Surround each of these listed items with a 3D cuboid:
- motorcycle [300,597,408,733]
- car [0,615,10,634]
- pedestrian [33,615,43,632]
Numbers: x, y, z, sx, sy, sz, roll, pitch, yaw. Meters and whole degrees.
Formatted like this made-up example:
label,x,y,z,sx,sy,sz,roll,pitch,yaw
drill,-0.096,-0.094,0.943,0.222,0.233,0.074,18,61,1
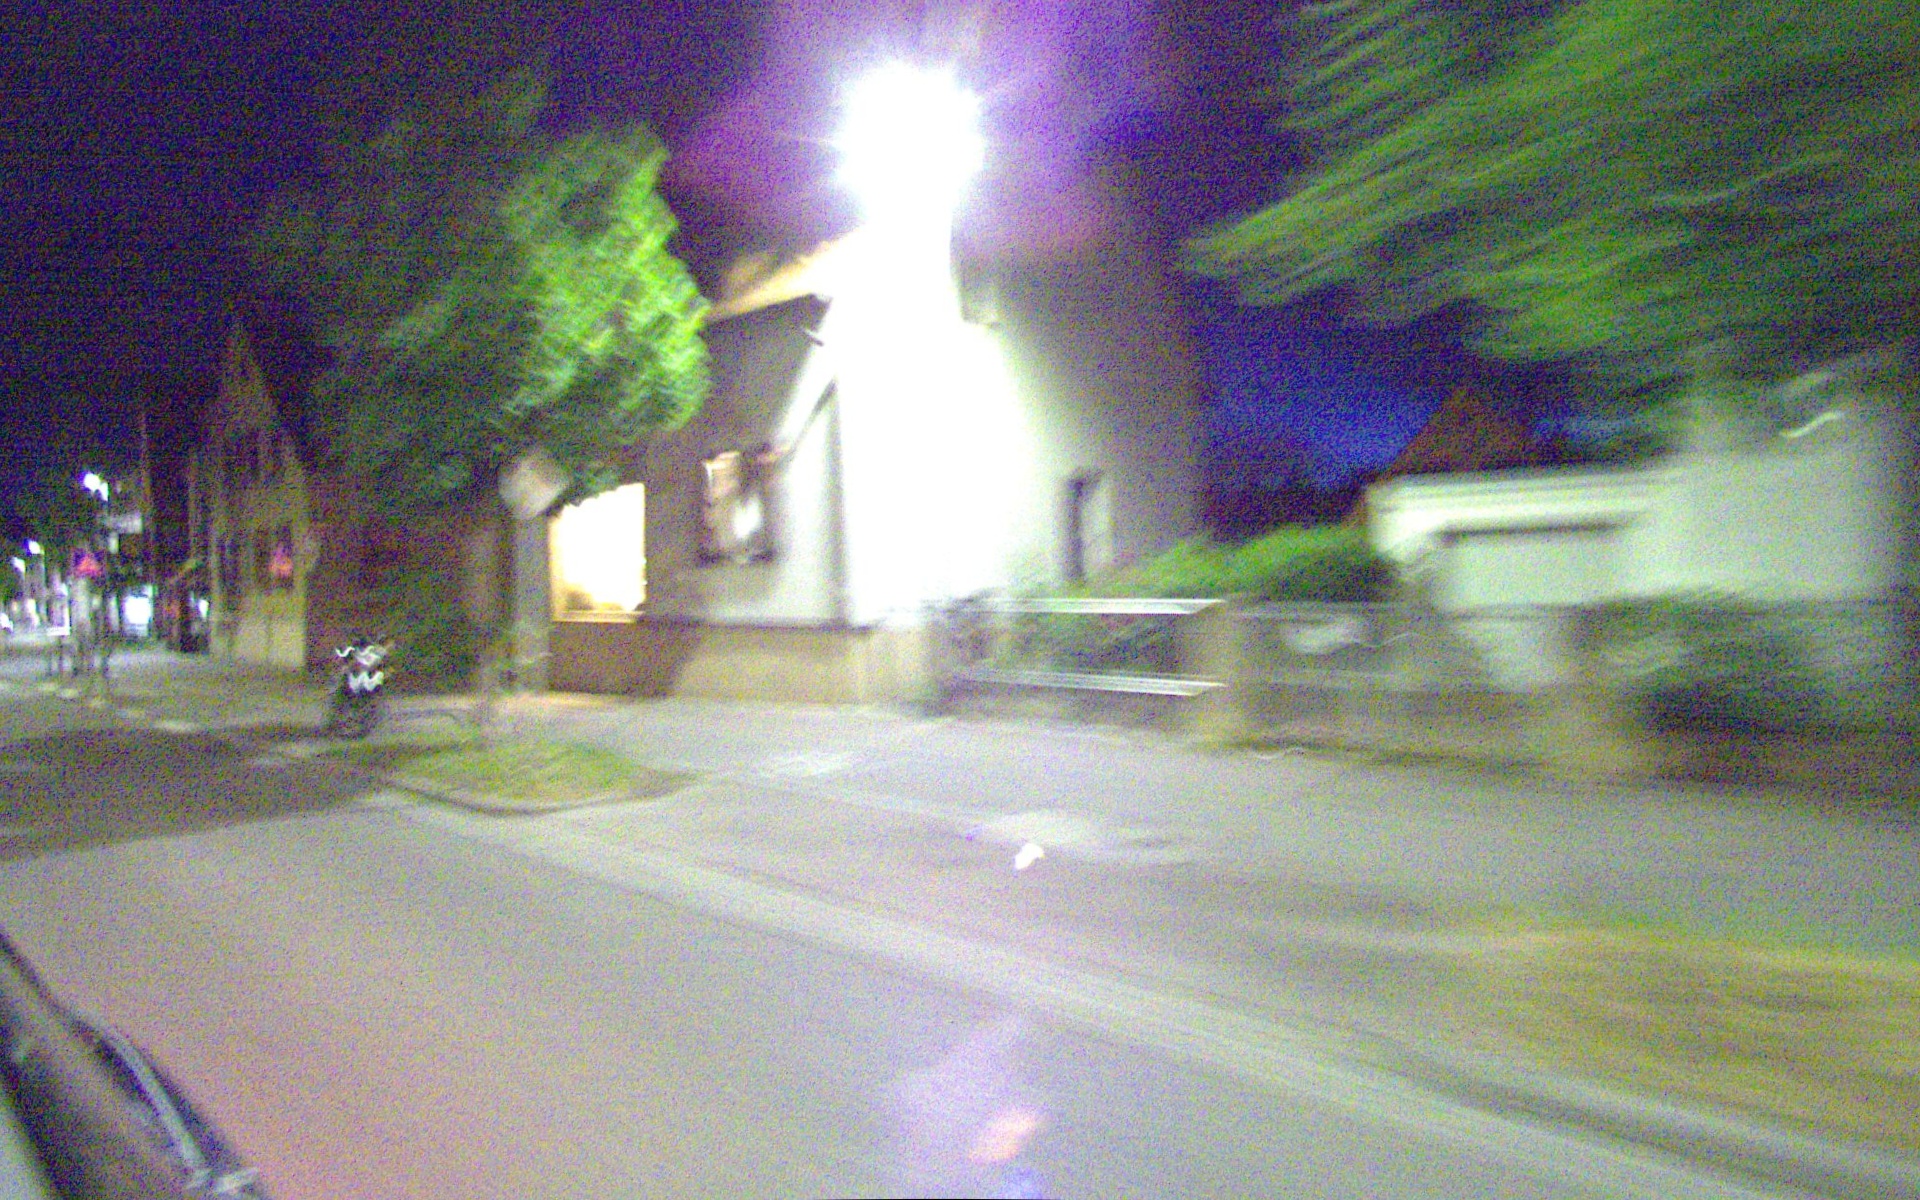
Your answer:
label,x,y,z,sx,sy,sz,roll,pitch,yaw
motorcycle,-7.215,0.717,12.002,0.737,1.463,2.199,0,0,-40
car,-77.006,1.955,80.444,4.932,1.430,1.875,-1,1,44
pedestrian,-87.416,2.205,95.946,0.664,1.600,0.523,-1,0,35
